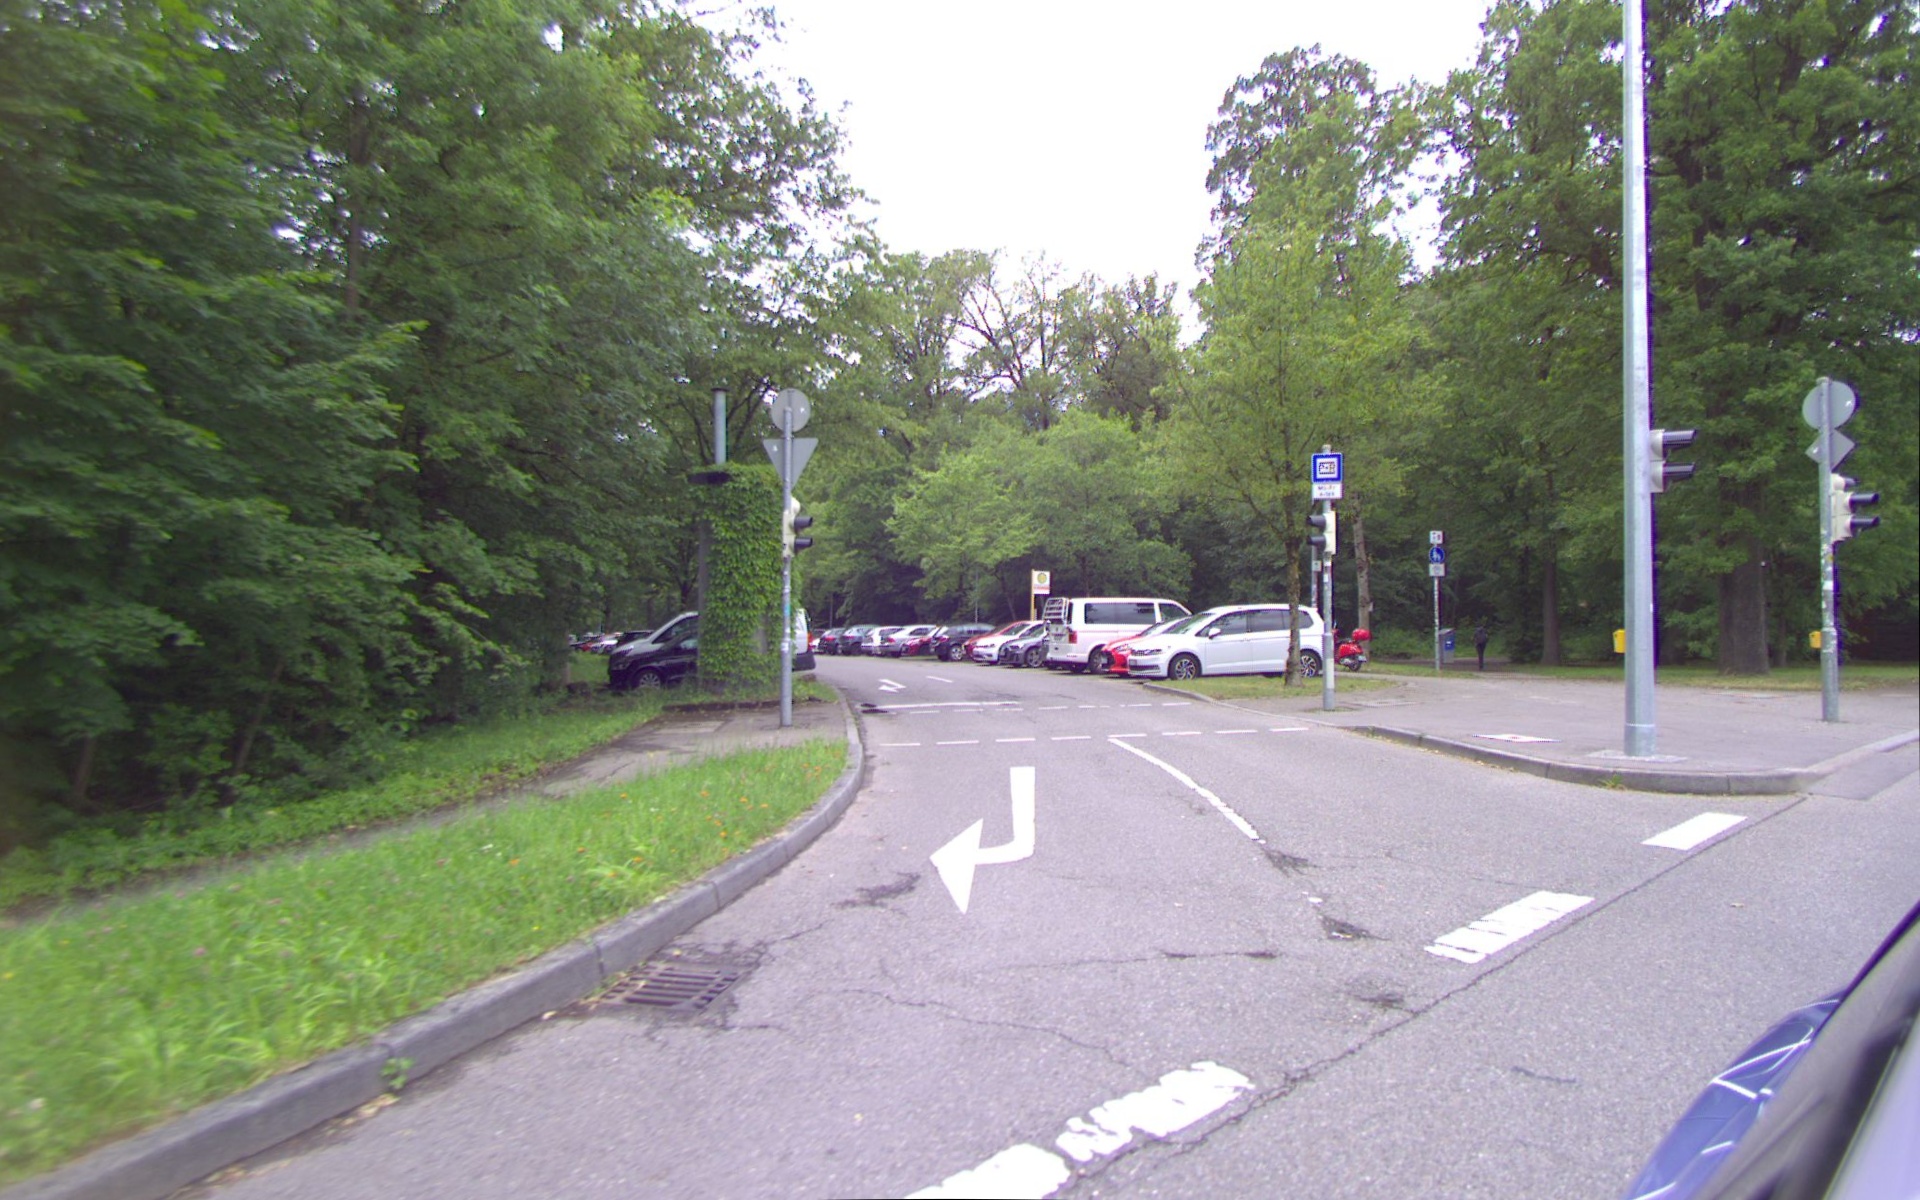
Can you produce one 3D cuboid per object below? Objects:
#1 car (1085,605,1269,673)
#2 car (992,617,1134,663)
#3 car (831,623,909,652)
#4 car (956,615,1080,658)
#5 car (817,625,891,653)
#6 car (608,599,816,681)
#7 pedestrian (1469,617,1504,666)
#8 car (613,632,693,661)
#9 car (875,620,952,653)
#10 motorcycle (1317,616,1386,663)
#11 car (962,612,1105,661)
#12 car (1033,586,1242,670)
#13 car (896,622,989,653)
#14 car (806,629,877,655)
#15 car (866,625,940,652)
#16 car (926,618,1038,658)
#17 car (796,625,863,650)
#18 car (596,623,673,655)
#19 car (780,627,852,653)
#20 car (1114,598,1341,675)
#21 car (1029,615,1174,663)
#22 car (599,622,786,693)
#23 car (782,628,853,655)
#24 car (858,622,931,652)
[{"bbox_3d":[5.239,0.936,24.689,3.917,1.572,1.897,0,-2,-10],"label":"car"},{"bbox_3d":[3.227,1.246,31.889,4.042,1.342,1.822,0,-2,-14],"label":"car"},{"bbox_3d":[-4.714,1.953,52.768,3.692,1.447,1.760,0,-2,-21],"label":"car"},{"bbox_3d":[2.094,1.321,36.854,4.112,1.515,1.822,0,-2,-14],"label":"car"},{"bbox_3d":[-5.793,2.130,55.226,3.692,1.447,1.760,0,-2,-21],"label":"car"},{"bbox_3d":[-6.161,0.963,25.249,4.846,1.903,2.003,0,-2,-15],"label":"car"},{"bbox_3d":[18.612,1.460,35.800,0.830,1.672,1.020,-3,-3,42],"label":"pedestrian"},{"bbox_3d":[-13.825,2.079,45.554,3.361,1.235,1.562,0,-2,-20],"label":"car"},{"bbox_3d":[-2.139,1.641,46.209,3.214,1.448,1.521,0,-2,-20],"label":"car"},{"bbox_3d":[10.461,1.055,27.098,0.578,1.220,1.960,0,-2,-18],"label":"motorcycle"},{"bbox_3d":[2.483,1.228,34.235,4.437,1.578,1.846,0,-2,-17],"label":"car"},{"bbox_3d":[4.732,0.737,27.225,5.075,1.982,2.066,-2,-2,-14],"label":"car"},{"bbox_3d":[-0.776,1.620,43.870,3.695,1.283,1.622,0,-2,-20],"label":"car"},{"bbox_3d":[-6.768,2.376,57.834,3.692,1.447,1.760,0,-2,-21],"label":"car"},{"bbox_3d":[-2.740,1.836,48.661,3.214,1.278,1.521,0,-2,-20],"label":"car"},{"bbox_3d":[0.839,1.455,39.098,3.982,1.476,1.767,0,-2,-14],"label":"car"},{"bbox_3d":[-7.868,2.230,60.917,3.692,1.447,1.660,0,-2,-21],"label":"car"},{"bbox_3d":[-19.245,2.313,59.847,4.118,1.809,1.840,0,-2,-24],"label":"car"},{"bbox_3d":[-9.672,2.672,67.933,4.369,1.672,2.001,1,-2,-30],"label":"car"},{"bbox_3d":[5.789,0.778,22.191,4.330,1.572,2.002,0,-2,-7],"label":"car"},{"bbox_3d":[4.159,1.136,29.957,3.853,1.345,1.724,0,-2,-16],"label":"car"},{"bbox_3d":[-5.889,1.220,22.222,3.768,1.438,1.824,0,-2,-22],"label":"car"},{"bbox_3d":[-9.202,2.649,65.330,4.133,1.672,1.846,1,-2,-30],"label":"car"},{"bbox_3d":[-3.296,1.826,50.697,3.313,1.460,1.523,0,-2,-22],"label":"car"}]
